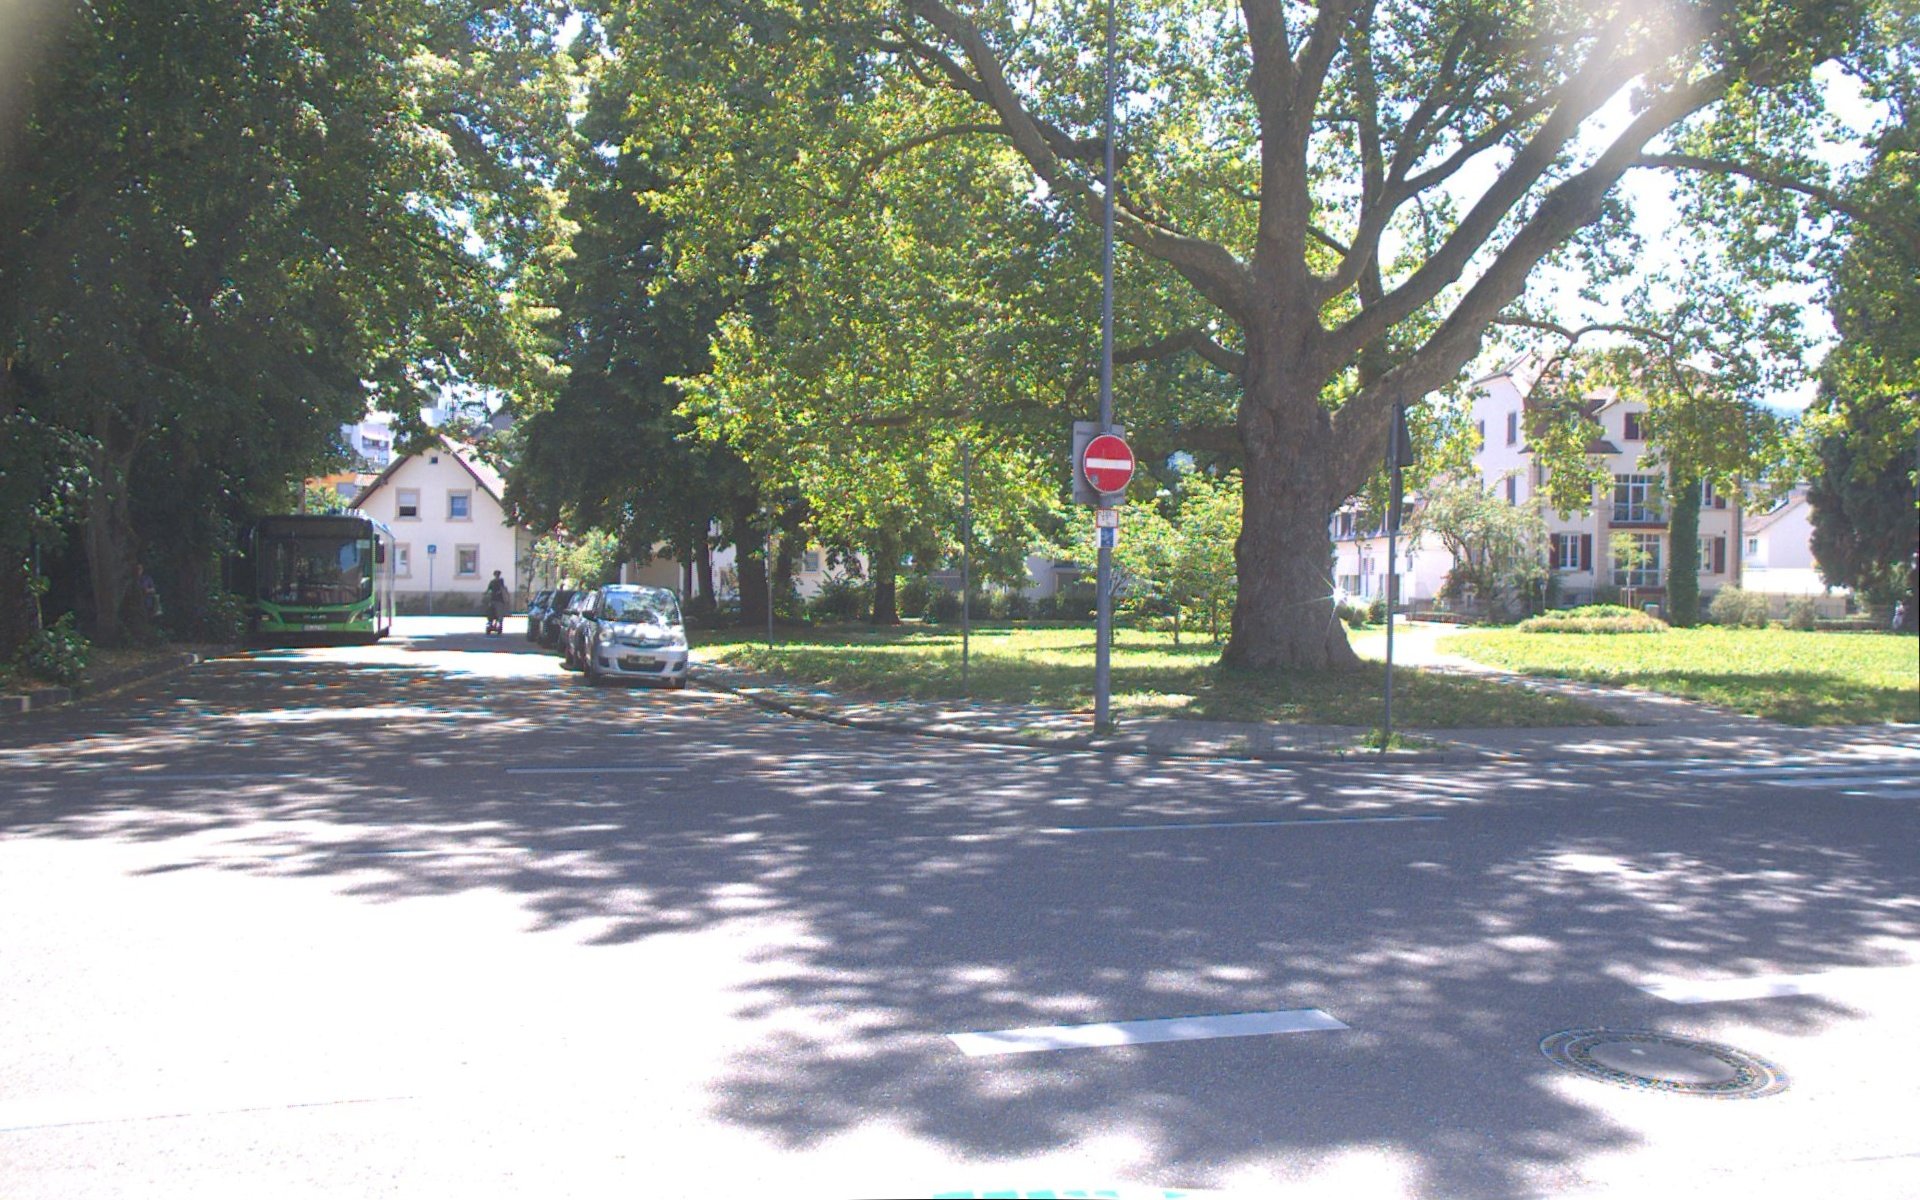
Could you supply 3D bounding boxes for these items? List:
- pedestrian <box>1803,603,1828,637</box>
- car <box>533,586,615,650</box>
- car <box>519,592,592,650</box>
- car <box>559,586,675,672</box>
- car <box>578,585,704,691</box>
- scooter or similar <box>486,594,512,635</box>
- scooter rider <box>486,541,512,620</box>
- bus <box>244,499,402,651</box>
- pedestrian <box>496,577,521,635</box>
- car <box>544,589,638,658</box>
[{"bbox_3d":[36.484,0.858,70.531,0.810,1.394,0.617,3,2,32],"label":"pedestrian"},{"bbox_3d":[-9.896,0.418,42.250,1.727,1.519,4.354,0,1,-17],"label":"car"},{"bbox_3d":[-11.366,0.564,46.323,1.727,1.519,3.899,0,0,-17],"label":"car"},{"bbox_3d":[-6.576,0.499,31.371,1.722,1.464,4.482,2,0,-17],"label":"car"},{"bbox_3d":[-5.109,0.553,26.206,1.570,1.523,3.469,2,0,-17],"label":"car"},{"bbox_3d":[-13.915,0.437,49.895,0.726,1.204,1.512,0,1,-16],"label":"scooter or similar"},{"bbox_3d":[-13.910,-0.596,49.901,0.726,2.358,0.923,0,0,-16],"label":"scooter rider"},{"bbox_3d":[-16.783,-0.612,44.605,2.823,3.352,15.875,0,0,-17],"label":"bus"},{"bbox_3d":[-14.413,0.197,52.856,0.707,1.833,0.938,0,0,-12],"label":"pedestrian"},{"bbox_3d":[-8.483,0.492,37.736,1.722,1.464,4.747,0,0,-17],"label":"car"}]
